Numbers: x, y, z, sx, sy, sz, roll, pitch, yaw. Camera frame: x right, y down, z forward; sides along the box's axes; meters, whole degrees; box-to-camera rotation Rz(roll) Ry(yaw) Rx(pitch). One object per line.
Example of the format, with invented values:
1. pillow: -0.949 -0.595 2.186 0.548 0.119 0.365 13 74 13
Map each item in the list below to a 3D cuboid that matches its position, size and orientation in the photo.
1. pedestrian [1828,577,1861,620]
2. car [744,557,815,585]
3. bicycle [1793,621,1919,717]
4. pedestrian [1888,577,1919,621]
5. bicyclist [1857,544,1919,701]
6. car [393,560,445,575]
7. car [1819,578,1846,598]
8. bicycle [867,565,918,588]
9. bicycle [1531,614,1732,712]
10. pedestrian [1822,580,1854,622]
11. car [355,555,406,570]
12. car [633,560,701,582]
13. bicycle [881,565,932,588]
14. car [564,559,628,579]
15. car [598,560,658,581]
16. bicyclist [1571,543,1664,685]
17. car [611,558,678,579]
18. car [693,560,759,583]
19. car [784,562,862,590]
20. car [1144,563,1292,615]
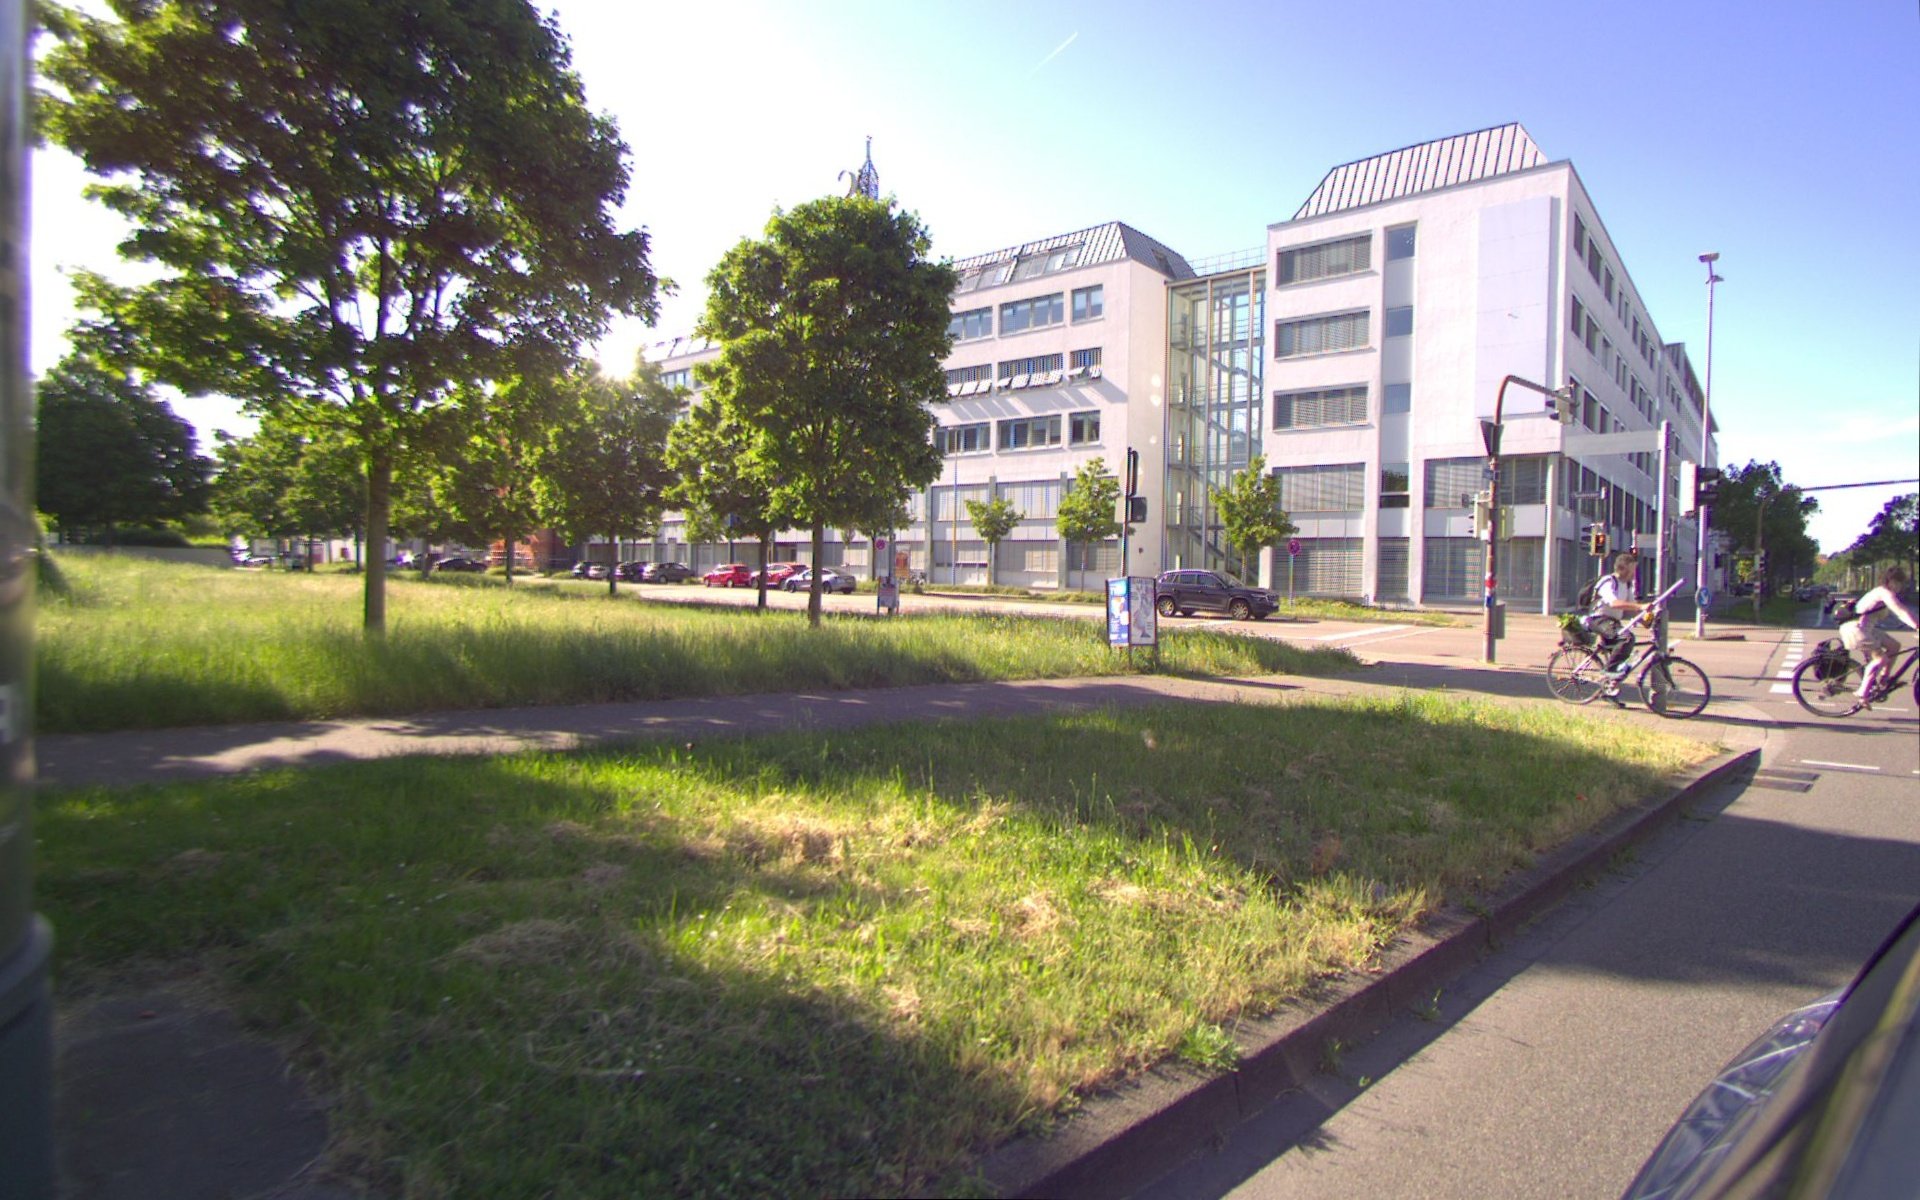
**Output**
1. pedestrian: 35.305 -0.063 40.411 0.720 1.718 0.734 0 1 -27
2. car: -11.083 -1.770 62.042 4.265 1.614 1.893 2 2 38
3. bicycle: 10.612 0.777 11.372 0.803 0.975 1.825 0 2 -43
4. pedestrian: 37.162 -0.045 39.818 0.723 1.718 0.880 0 2 -43
5. bicyclist: 10.620 0.238 11.369 0.803 1.712 0.713 0 1 -43
6. car: -53.857 -3.195 100.792 1.910 1.437 4.227 2 2 39
7. car: 78.629 -1.098 91.229 1.686 1.731 4.180 2 2 40
8. bicycle: -4.229 -1.464 63.020 3.521 1.365 0.975 2 2 41
9. bicycle: 7.928 0.698 12.012 0.841 0.975 1.825 0 2 -42
10. pedestrian: 36.189 0.025 41.714 0.720 1.718 0.734 0 1 -27
11. car: -60.864 -3.950 106.290 1.910 1.437 4.227 2 2 39
12. car: -20.378 -2.015 70.479 1.910 1.437 4.227 2 2 39
13. bicycle: -3.373 -1.475 63.652 3.521 1.365 0.975 2 2 41
14. car: -27.565 -2.321 76.753 1.910 1.437 4.227 2 2 39
15. car: -24.570 -2.182 74.911 1.652 1.437 3.954 2 2 39
16. bicyclist: 7.858 0.144 12.088 0.835 1.620 0.714 0 1 -43
17. car: -22.533 -2.249 72.304 1.910 1.437 4.227 2 2 39
18. car: -15.111 -1.858 65.288 4.265 1.437 1.893 2 2 38
19. car: -7.694 -1.354 56.730 4.265 1.437 1.893 2 2 38
20. car: 8.889 -0.431 35.113 4.615 1.642 1.970 3 3 43
